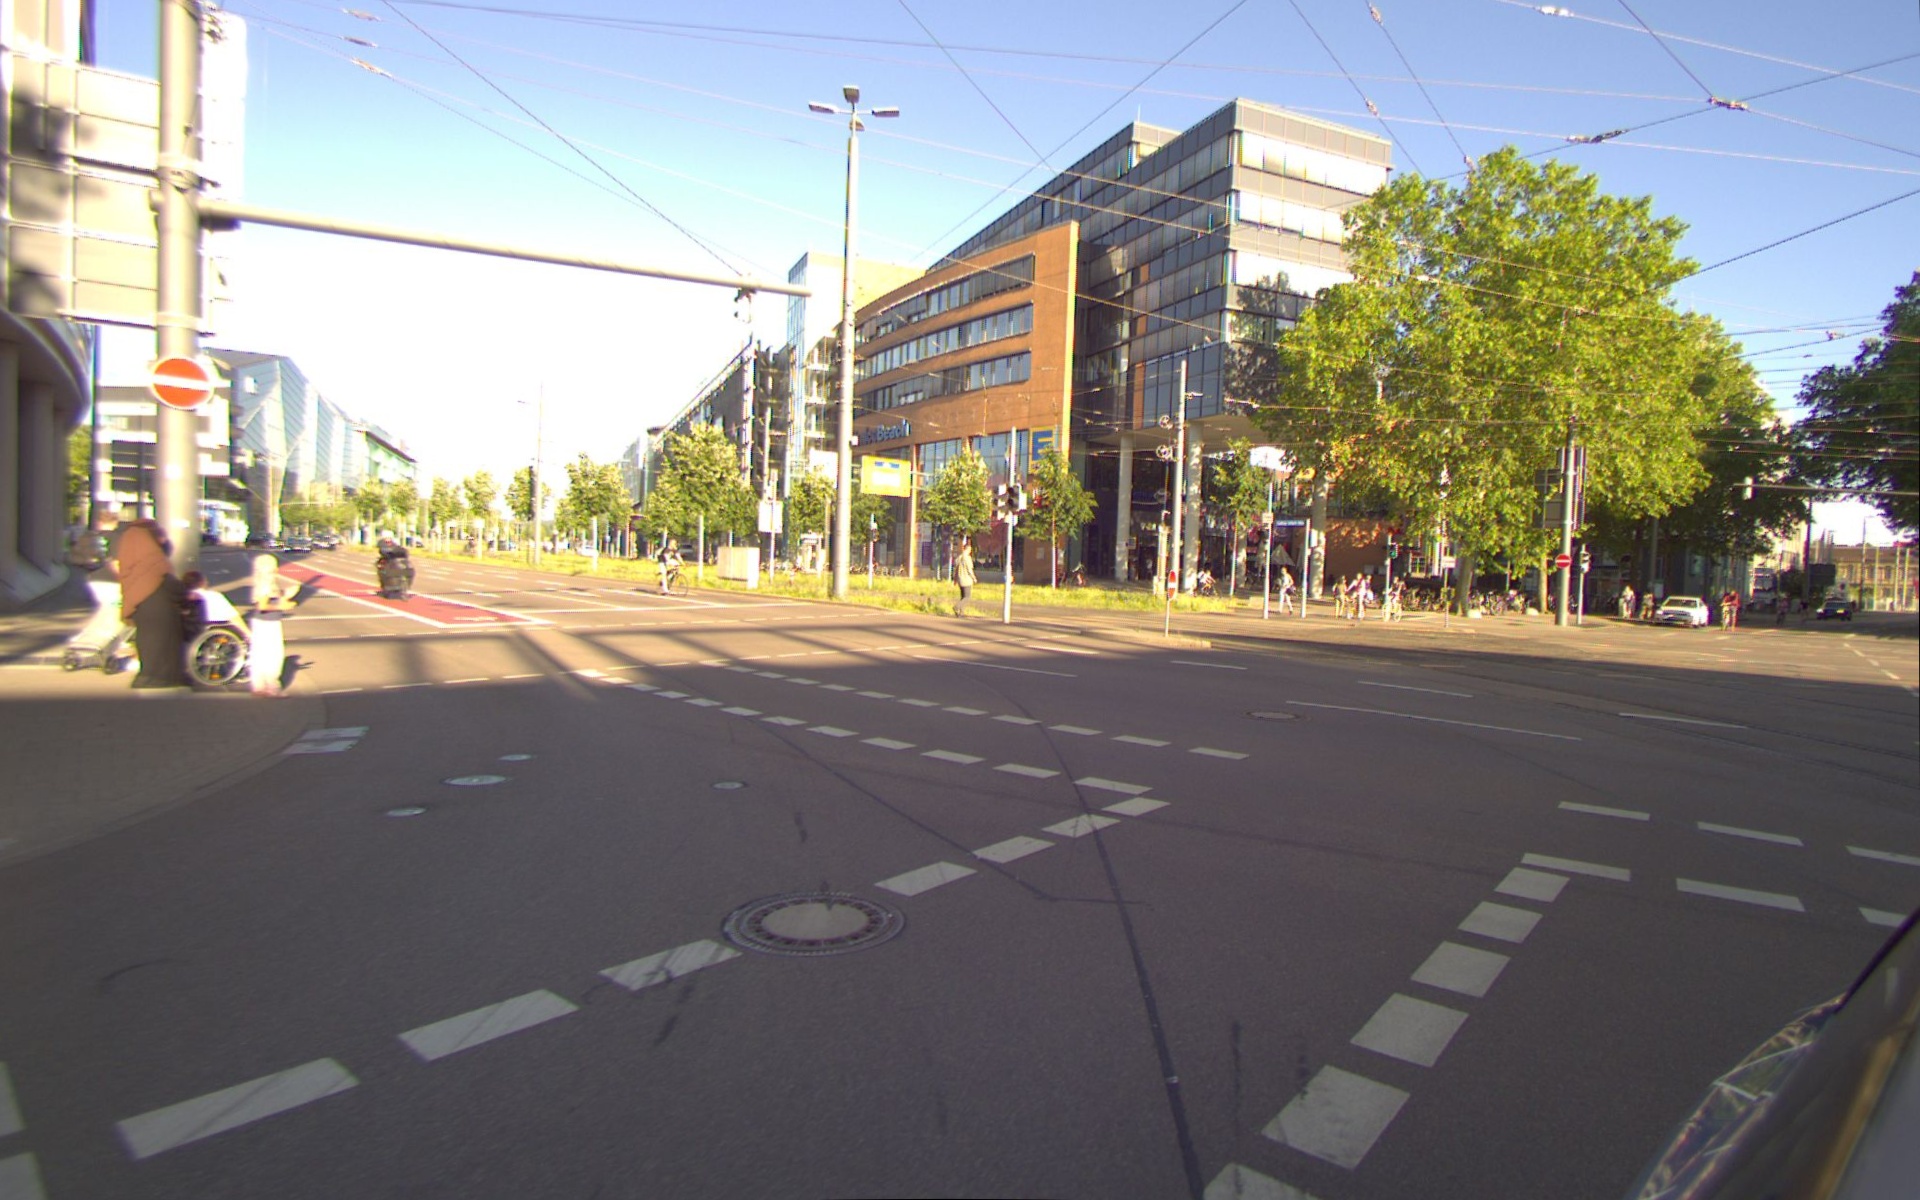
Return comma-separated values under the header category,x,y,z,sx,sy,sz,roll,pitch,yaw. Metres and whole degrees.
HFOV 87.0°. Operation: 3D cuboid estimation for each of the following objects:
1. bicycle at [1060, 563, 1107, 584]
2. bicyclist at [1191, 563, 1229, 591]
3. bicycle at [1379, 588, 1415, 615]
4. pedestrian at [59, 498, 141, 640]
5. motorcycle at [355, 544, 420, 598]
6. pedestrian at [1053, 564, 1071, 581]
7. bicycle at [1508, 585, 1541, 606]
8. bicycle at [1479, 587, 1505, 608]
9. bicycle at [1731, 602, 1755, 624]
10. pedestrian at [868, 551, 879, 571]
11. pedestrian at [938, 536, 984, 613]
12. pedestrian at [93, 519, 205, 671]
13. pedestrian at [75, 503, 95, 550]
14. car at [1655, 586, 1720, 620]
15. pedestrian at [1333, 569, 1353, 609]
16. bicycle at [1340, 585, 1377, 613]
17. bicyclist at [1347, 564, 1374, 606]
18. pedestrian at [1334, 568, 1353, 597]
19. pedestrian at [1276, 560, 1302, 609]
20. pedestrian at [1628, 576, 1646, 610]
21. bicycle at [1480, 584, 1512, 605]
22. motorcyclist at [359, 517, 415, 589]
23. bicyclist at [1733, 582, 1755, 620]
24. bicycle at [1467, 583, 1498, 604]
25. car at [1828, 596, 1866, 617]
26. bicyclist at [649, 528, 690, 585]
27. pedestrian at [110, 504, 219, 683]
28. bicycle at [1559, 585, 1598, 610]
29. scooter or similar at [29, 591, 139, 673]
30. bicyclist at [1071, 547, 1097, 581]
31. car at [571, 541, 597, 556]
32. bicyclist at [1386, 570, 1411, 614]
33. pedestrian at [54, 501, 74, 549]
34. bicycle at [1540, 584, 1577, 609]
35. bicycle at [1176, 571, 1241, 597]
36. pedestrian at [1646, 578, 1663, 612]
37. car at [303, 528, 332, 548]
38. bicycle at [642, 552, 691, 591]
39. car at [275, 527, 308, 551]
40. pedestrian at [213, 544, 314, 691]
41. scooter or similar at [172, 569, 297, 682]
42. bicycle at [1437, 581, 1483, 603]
category,x,y,z,sx,sy,sz,roll,pitch,yaw
bicycle,7.348,-1.595,60.478,0.820,1.127,3.048,1,3,-40
bicyclist,13.035,-1.187,52.790,1.560,1.398,1.027,5,3,44
bicycle,17.278,0.051,40.005,1.825,1.034,0.516,0,3,-39
pedestrian,-10.829,-0.391,12.767,0.676,1.736,0.646,1,2,-31
motorcycle,-14.471,-0.749,25.527,0.969,1.247,2.941,0,3,-39
pedestrian,6.485,-1.759,64.415,0.770,1.070,0.815,1,3,-27
bicycle,33.372,-0.290,59.857,0.864,1.104,2.923,3,3,12
bicycle,26.062,-0.138,49.594,1.679,0.998,0.391,0,3,-37
bicycle,35.457,0.591,45.836,0.650,0.921,1.830,4,3,44
pedestrian,-7.117,-3.187,83.128,0.693,1.588,0.624,1,3,-27
pedestrian,0.022,-0.631,24.674,0.871,1.845,0.675,-2,4,-45
pedestrian,-9.096,-0.065,11.366,0.650,1.620,0.700,3,1,16
pedestrian,-33.504,-2.827,38.744,0.541,1.754,0.640,0,3,-44
car,35.374,0.161,49.156,1.994,1.504,3.936,4,2,44
pedestrian,15.749,-0.436,41.606,0.488,1.601,0.649,5,3,43
bicycle,14.828,-0.043,37.633,1.603,1.034,0.516,0,3,-39
bicyclist,14.894,-0.565,37.631,0.731,1.521,0.570,0,2,-39
pedestrian,21.291,-0.962,56.221,0.762,1.545,0.565,1,2,-23
pedestrian,12.629,-0.602,38.872,0.688,1.859,0.516,2,1,-15
pedestrian,36.113,-0.366,53.985,0.640,1.798,0.608,3,2,40
bicycle,32.046,-0.369,60.546,0.864,1.104,2.923,3,3,12
motorcyclist,-14.522,-1.204,25.634,1.004,1.752,1.460,0,3,-39
bicyclist,35.490,0.040,45.826,0.635,1.635,0.914,4,3,43
bicycle,31.068,-0.408,60.235,0.864,1.104,2.923,3,3,12
car,74.739,0.535,85.293,3.931,1.553,1.898,-1,3,-42
bicyclist,-8.845,-1.327,30.779,0.990,1.687,0.755,4,3,42
pedestrian,-8.036,-0.075,10.237,0.572,1.729,0.636,3,2,11
bicycle,34.948,-0.155,57.237,0.864,1.250,2.923,3,3,12
scooter or similar,-9.271,0.324,10.718,0.650,0.800,0.614,3,1,16
bicyclist,7.385,-2.150,60.478,0.820,1.955,1.229,1,3,-40
car,-41.283,-5.666,111.152,1.870,1.526,4.004,2,1,-33
bicyclist,17.354,-0.309,40.042,0.732,1.715,0.569,0,2,-39
pedestrian,-33.934,-2.837,38.307,0.541,1.754,0.640,0,3,-44
bicycle,33.946,-0.200,57.449,0.864,1.250,2.923,3,3,12
bicycle,12.954,-0.841,52.848,3.172,1.146,1.027,5,3,44
pedestrian,36.769,-0.268,53.563,0.640,1.798,0.608,3,2,40
car,-59.883,-5.778,94.306,1.852,1.621,3.999,1,3,-38
bicycle,-8.962,-0.873,30.859,1.679,1.121,0.635,4,3,42
car,-55.002,-5.018,83.230,1.743,1.745,3.903,1,3,-41
pedestrian,-7.068,0.161,10.290,0.538,1.419,0.636,3,2,10
scooter or similar,-7.905,0.250,11.057,0.541,1.143,1.016,3,2,11
bicycle,29.654,-0.470,60.054,0.860,1.104,2.939,2,3,-9
